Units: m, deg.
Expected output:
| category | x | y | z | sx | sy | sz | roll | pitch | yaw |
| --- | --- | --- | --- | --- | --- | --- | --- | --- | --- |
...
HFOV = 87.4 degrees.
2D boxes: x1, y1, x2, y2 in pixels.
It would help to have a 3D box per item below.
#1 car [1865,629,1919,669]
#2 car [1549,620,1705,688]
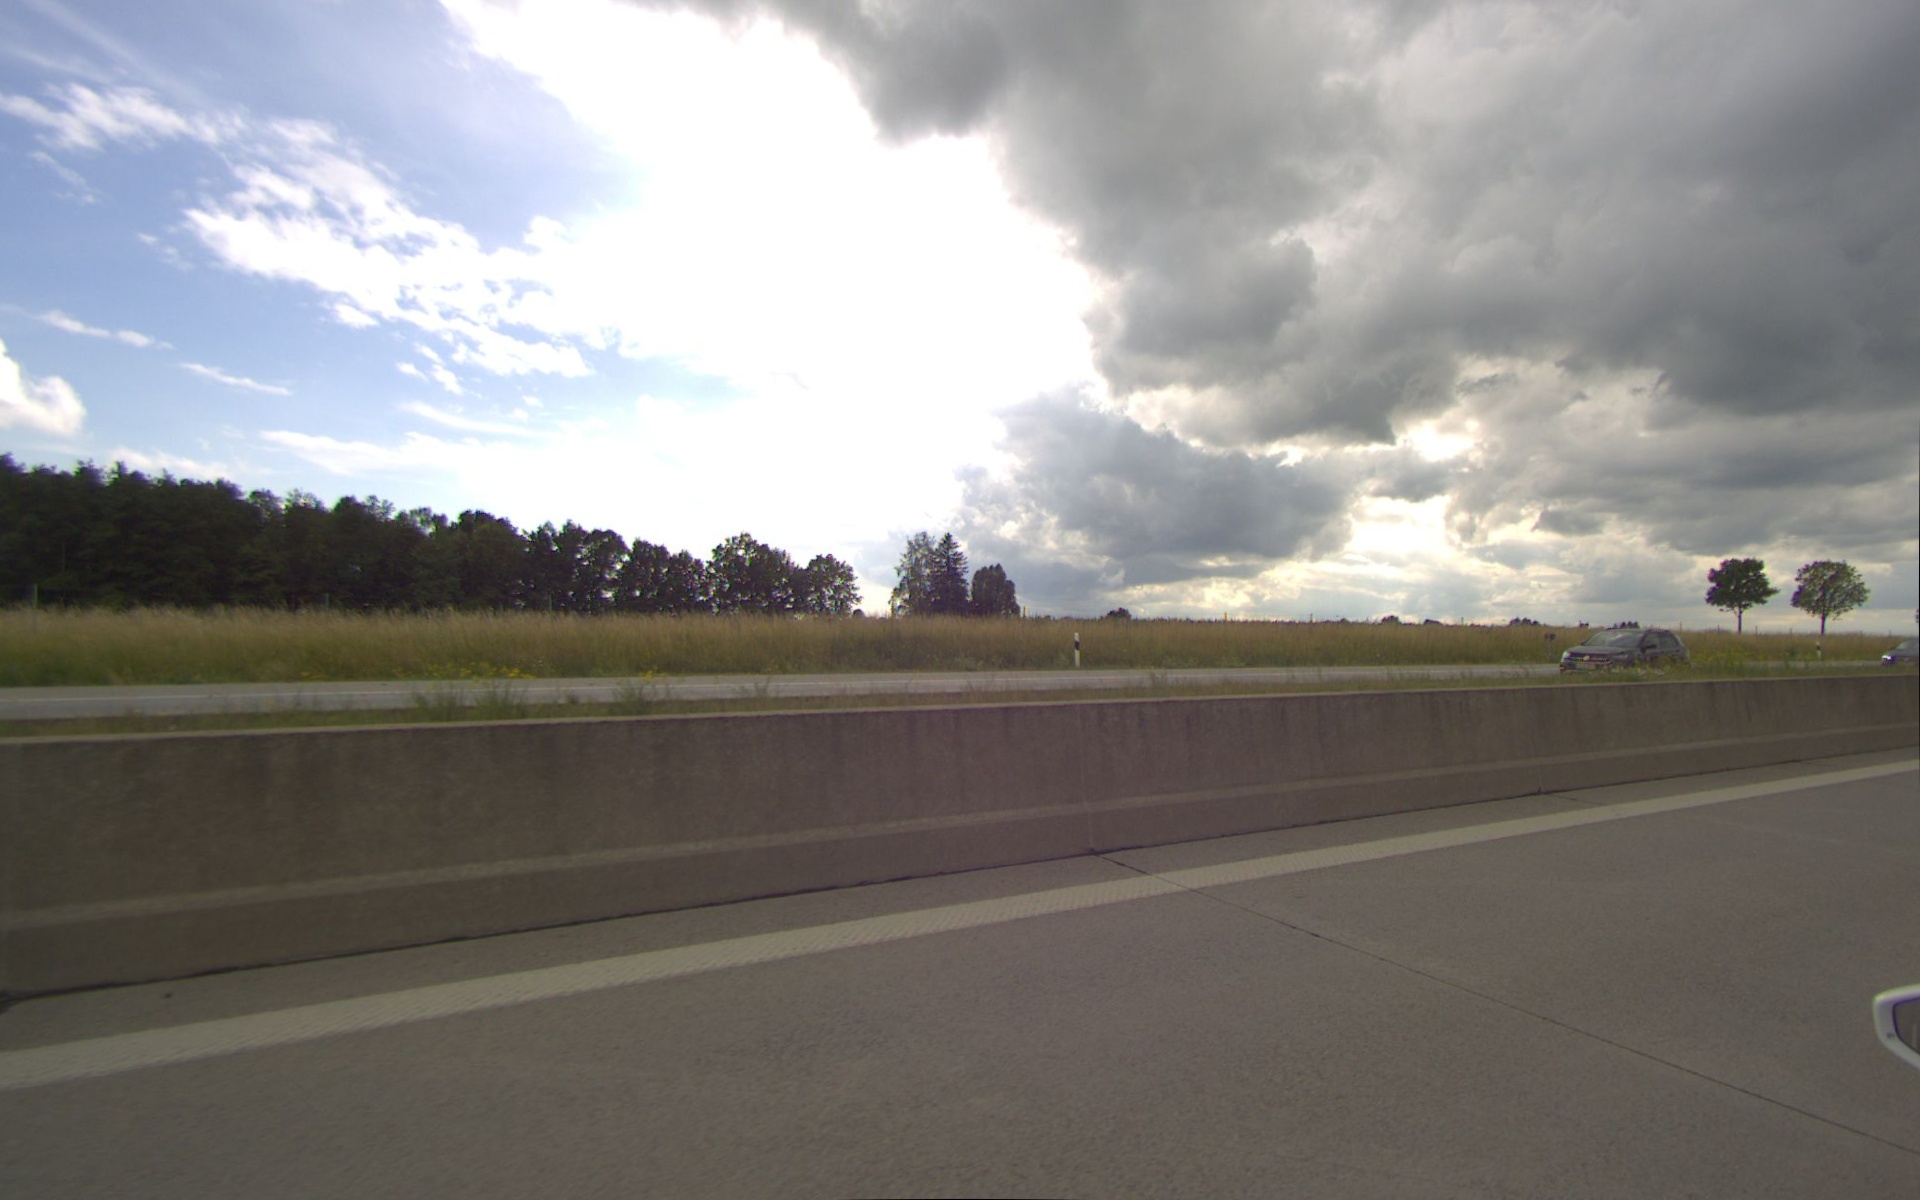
| category | x | y | z | sx | sy | sz | roll | pitch | yaw |
| --- | --- | --- | --- | --- | --- | --- | --- | --- | --- |
| car | 36.283 | 1.846 | 38.201 | 3.953 | 1.417 | 1.654 | 2 | -1 | -30 |
| car | 18.122 | 1.433 | 27.267 | 4.015 | 1.706 | 1.984 | 1 | -1 | -30 |
